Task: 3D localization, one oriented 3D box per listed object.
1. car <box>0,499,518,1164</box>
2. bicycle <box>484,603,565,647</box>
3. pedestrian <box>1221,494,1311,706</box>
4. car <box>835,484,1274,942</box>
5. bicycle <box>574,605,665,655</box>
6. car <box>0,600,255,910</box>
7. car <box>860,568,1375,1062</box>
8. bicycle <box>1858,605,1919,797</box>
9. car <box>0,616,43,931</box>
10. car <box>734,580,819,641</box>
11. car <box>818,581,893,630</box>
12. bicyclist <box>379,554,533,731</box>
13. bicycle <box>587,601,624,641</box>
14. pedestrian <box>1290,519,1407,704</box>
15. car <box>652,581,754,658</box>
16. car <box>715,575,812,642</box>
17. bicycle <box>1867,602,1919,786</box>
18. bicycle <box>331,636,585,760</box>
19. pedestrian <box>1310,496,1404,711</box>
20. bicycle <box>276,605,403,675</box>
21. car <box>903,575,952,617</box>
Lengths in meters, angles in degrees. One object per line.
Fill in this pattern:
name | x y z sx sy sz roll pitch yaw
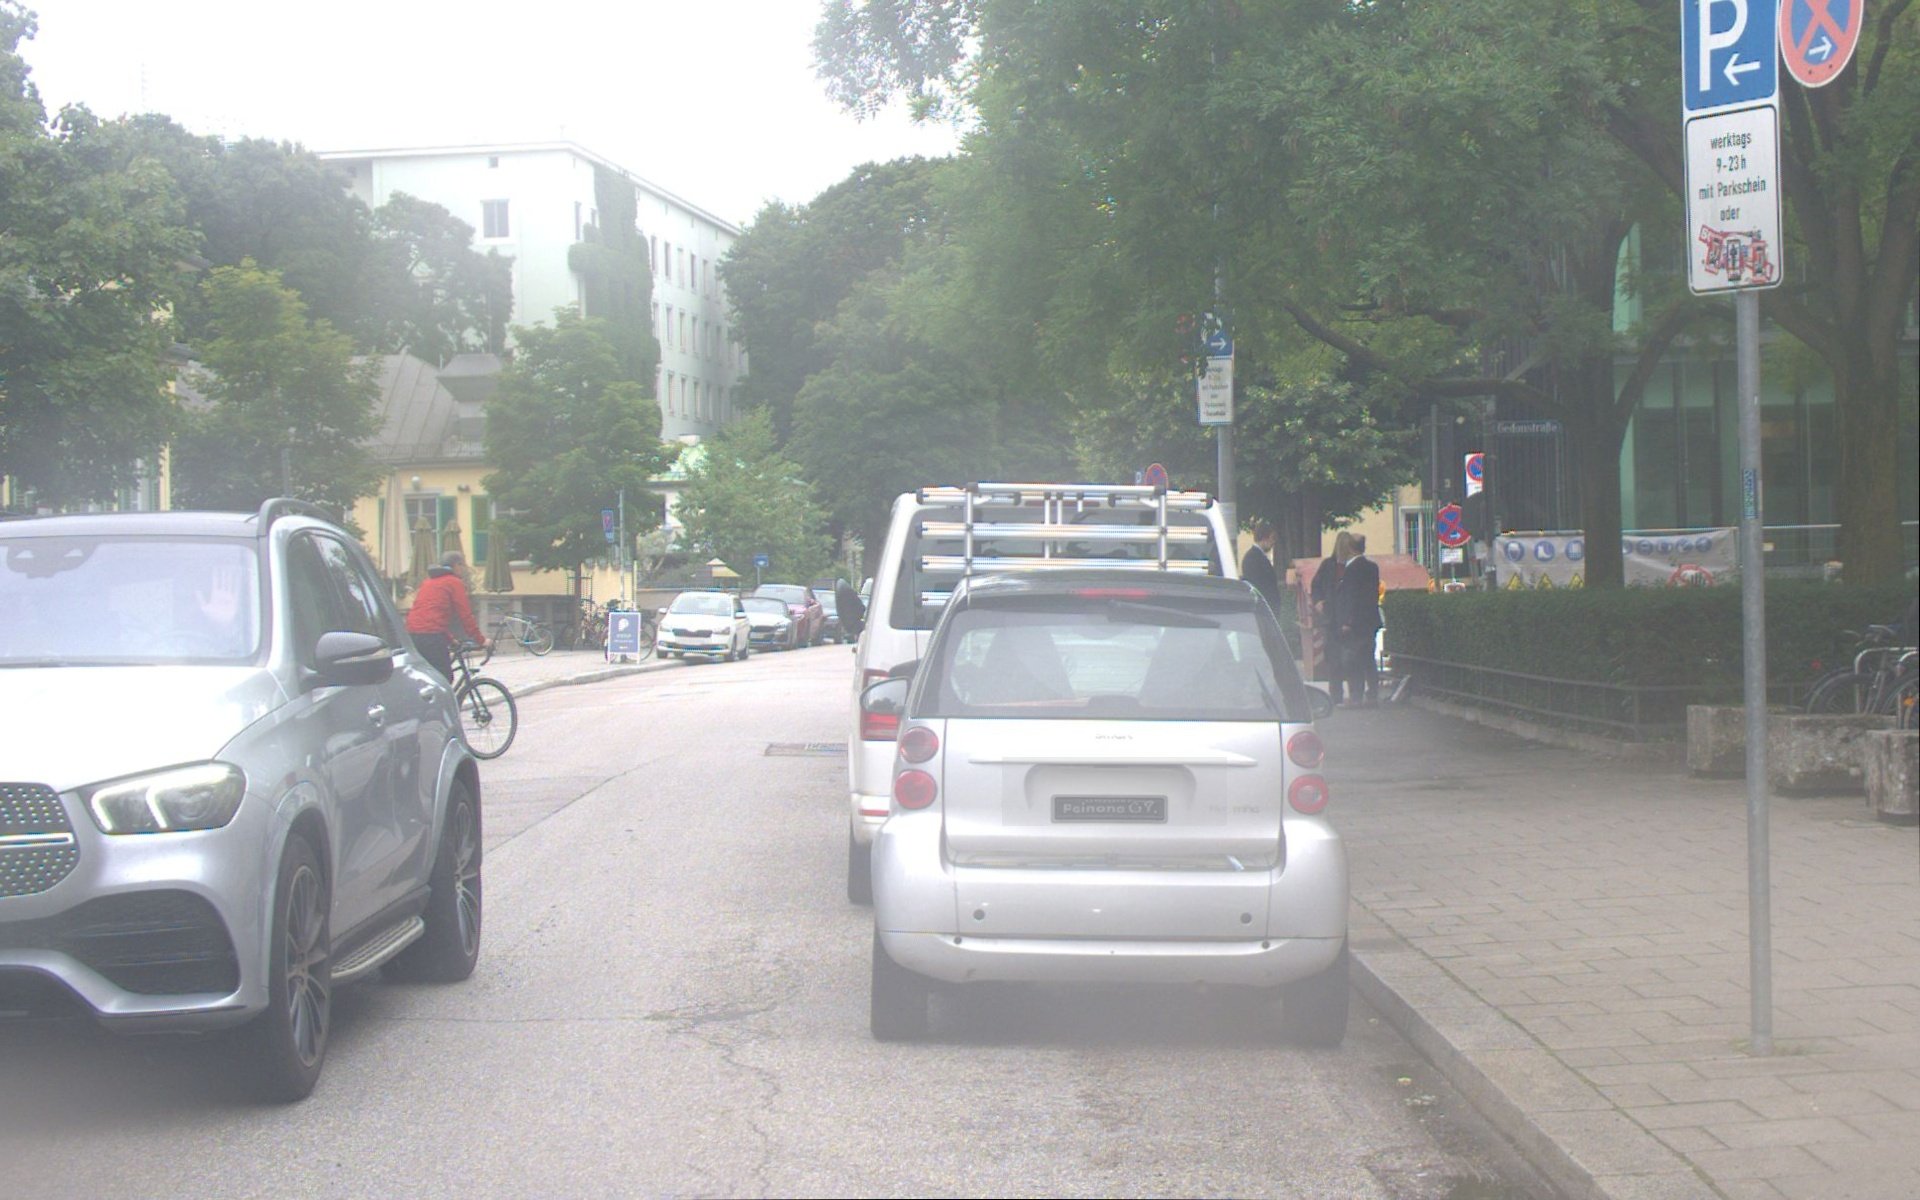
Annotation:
car | -2.813 0.596 11.157 2.025 1.683 4.677 -2 0 1
bicycle | -9.507 0.541 75.026 1.613 0.922 0.651 -1 -1 -24
pedestrian | 3.142 -0.001 35.372 0.742 2.127 1.056 -2 0 -1
car | 0.348 0.468 17.444 1.845 1.926 5.273 1 0 -1
bicycle | -6.995 0.615 70.720 0.623 1.001 2.136 2 1 33
car | -5.514 0.800 19.283 1.993 1.486 4.883 -3 0 1
car | 0.496 0.669 12.344 1.605 1.541 2.934 1 0 0
bicycle | 6.387 0.560 20.440 1.931 1.110 0.471 -2 0 2
car | -5.322 0.842 14.021 1.922 1.434 4.918 -3 0 -2
car | -4.934 0.291 92.888 1.993 1.597 4.000 -1 -1 1
car | -3.338 0.158 110.731 1.994 1.481 3.999 -1 1 4
bicyclist | -4.336 0.368 29.574 1.092 1.492 0.673 0 -2 -40
bicycle | -8.957 0.533 86.970 0.621 1.001 1.618 -1 -1 6
pedestrian | 4.094 0.119 36.168 0.744 1.901 1.054 -2 0 35
car | -5.596 0.404 75.223 1.734 1.576 3.787 2 0 3
car | -4.985 0.197 87.808 1.994 1.643 4.655 -1 0 3
bicycle | 6.651 0.540 21.230 1.931 1.110 0.471 -2 0 2
bicycle | -4.302 0.832 29.574 2.134 1.001 0.623 -1 -1 -40
pedestrian | 4.028 0.031 34.956 0.742 2.127 1.056 -2 0 -1
bicycle | -10.077 0.648 55.849 1.931 1.095 0.615 1 0 3
car | -1.329 -0.177 142.061 1.810 1.677 4.000 -1 1 2
